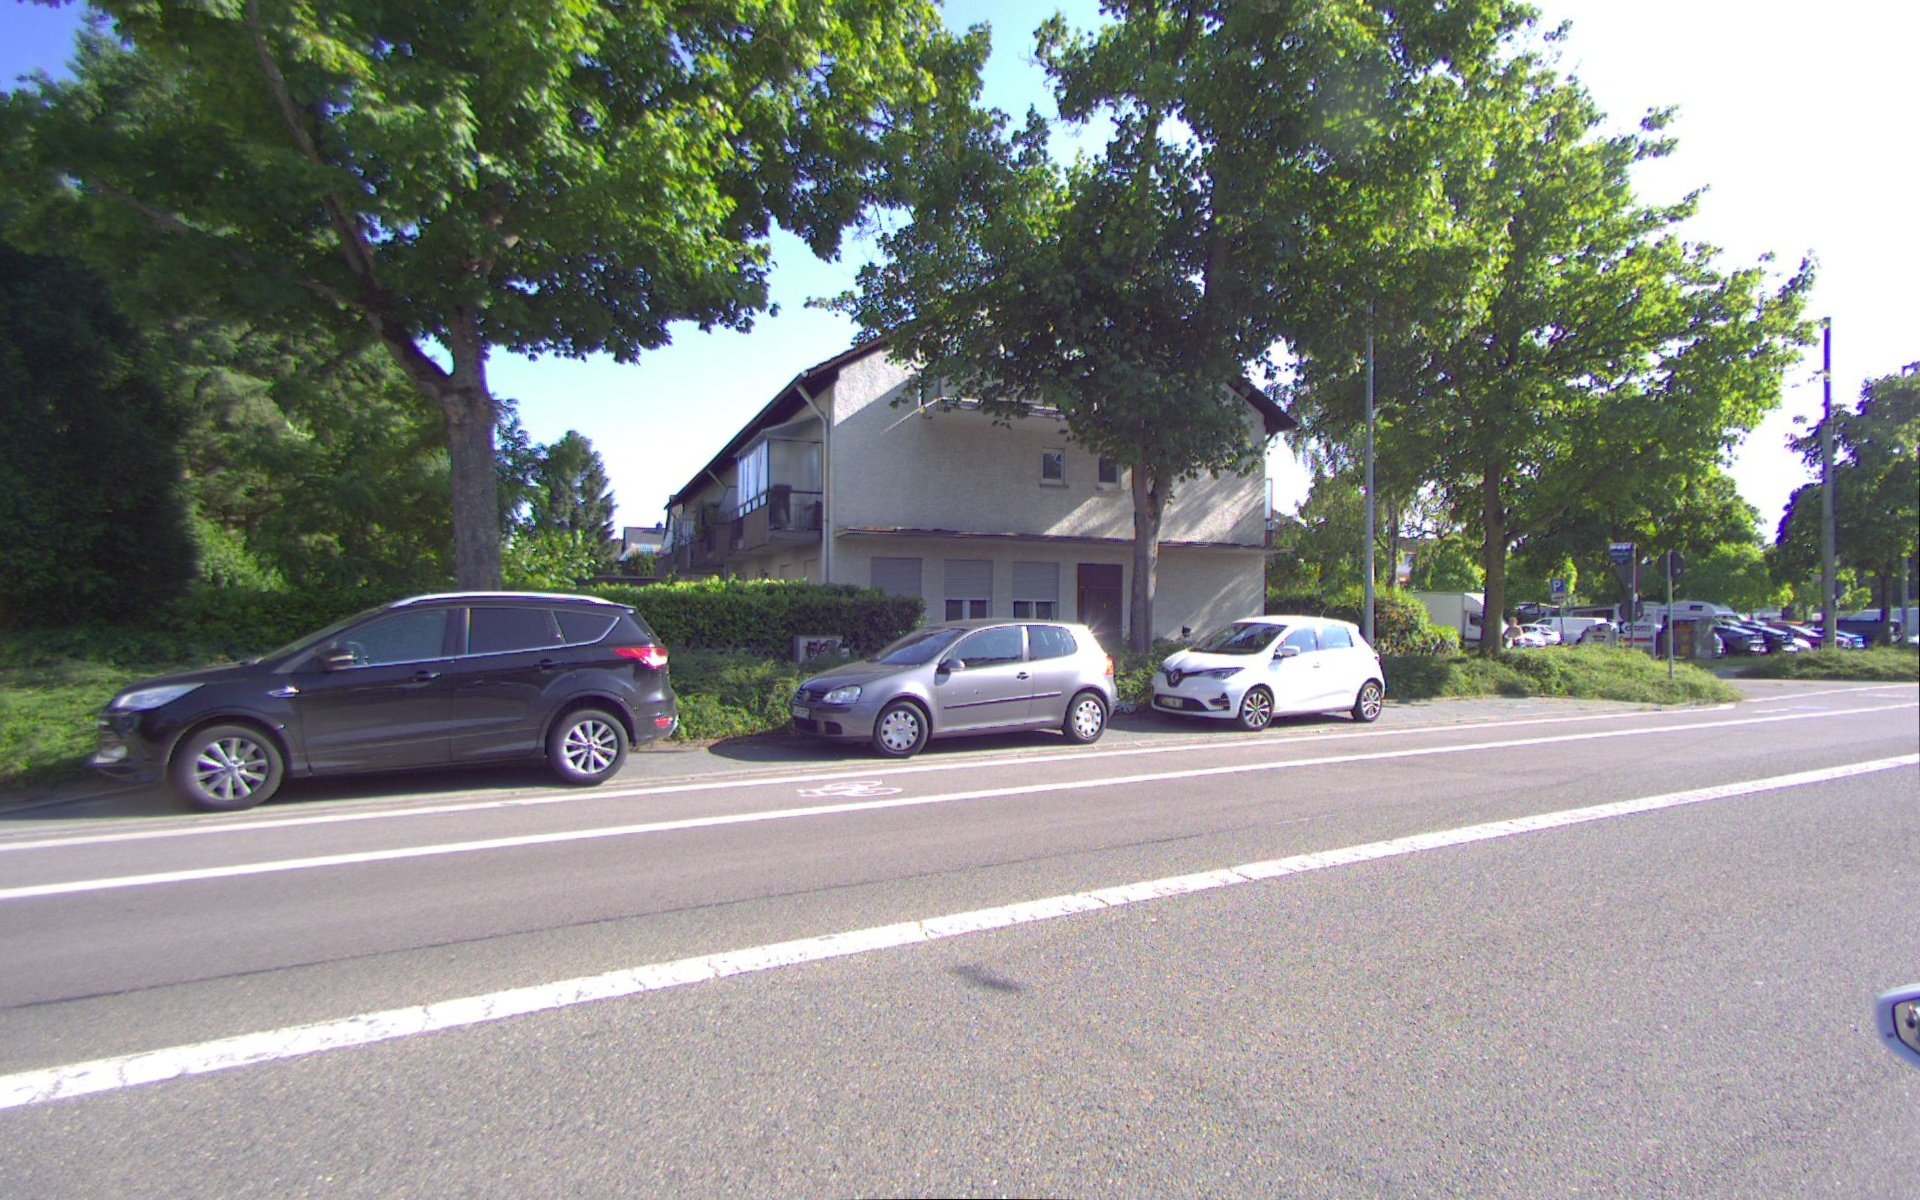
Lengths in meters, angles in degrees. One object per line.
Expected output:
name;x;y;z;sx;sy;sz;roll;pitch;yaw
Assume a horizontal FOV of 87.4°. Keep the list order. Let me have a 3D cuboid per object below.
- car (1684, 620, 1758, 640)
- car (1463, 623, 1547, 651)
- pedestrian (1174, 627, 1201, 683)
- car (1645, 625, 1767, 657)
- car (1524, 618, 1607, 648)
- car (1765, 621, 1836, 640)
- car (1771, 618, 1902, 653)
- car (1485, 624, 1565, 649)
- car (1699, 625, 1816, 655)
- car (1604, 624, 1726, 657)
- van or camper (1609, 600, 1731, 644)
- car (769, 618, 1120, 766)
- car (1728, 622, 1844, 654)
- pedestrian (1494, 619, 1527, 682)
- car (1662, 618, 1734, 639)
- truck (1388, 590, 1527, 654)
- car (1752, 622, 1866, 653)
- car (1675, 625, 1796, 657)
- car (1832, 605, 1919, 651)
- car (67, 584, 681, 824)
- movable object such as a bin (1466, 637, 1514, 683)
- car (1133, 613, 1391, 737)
car;55.208;2.154;72.955;1.719;1.416;3.964;1;-1;-33
car;31.389;2.110;57.969;1.719;1.477;3.964;1;-1;-33
pedestrian;4.906;1.183;21.660;0.440;1.177;0.345;1;-1;-22
car;32.456;1.754;43.797;1.719;1.324;3.964;1;-1;-33
car;36.096;1.947;59.966;1.611;1.751;3.959;1;-1;-36
car;65.617;2.331;78.458;1.719;1.416;3.964;1;-1;-33
car;43.952;1.740;50.464;2.026;1.673;4.594;1;-1;-31
car;33.604;2.145;59.844;1.604;1.379;3.976;1;-1;-24
car;37.289;1.845;47.050;1.719;1.324;3.964;1;-1;-33
car;30.142;1.700;43.054;1.719;1.324;3.964;1;-1;-33
van or camper;48.270;1.456;68.492;2.279;2.906;6.436;1;-1;-29
car;-0.124;0.980;12.016;3.925;1.488;1.667;1;-1;-33
car;39.314;1.787;47.894;1.719;1.416;3.964;1;-1;-33
pedestrian;14.570;1.327;26.591;0.603;1.649;0.522;1;-1;-30
car;51.174;1.976;69.700;1.719;1.416;3.642;1;-1;-33
truck;27.211;1.184;55.312;1.965;3.285;6.926;1;-1;-31
car;41.783;1.830;49.504;1.719;1.416;3.964;1;-1;-33
car;34.731;1.794;45.063;1.719;1.324;3.964;1;-1;-33
car;50.915;1.509;54.275;2.062;2.456;5.351;1;-1;-29
car;-4.917;0.778;9.044;4.370;1.716;1.704;1;0;-30
movable object such as a bin;13.776;1.554;26.118;1.246;1.161;0.539;1;-1;-30
car;4.543;1.019;14.933;3.854;1.571;1.591;1;1;-34
